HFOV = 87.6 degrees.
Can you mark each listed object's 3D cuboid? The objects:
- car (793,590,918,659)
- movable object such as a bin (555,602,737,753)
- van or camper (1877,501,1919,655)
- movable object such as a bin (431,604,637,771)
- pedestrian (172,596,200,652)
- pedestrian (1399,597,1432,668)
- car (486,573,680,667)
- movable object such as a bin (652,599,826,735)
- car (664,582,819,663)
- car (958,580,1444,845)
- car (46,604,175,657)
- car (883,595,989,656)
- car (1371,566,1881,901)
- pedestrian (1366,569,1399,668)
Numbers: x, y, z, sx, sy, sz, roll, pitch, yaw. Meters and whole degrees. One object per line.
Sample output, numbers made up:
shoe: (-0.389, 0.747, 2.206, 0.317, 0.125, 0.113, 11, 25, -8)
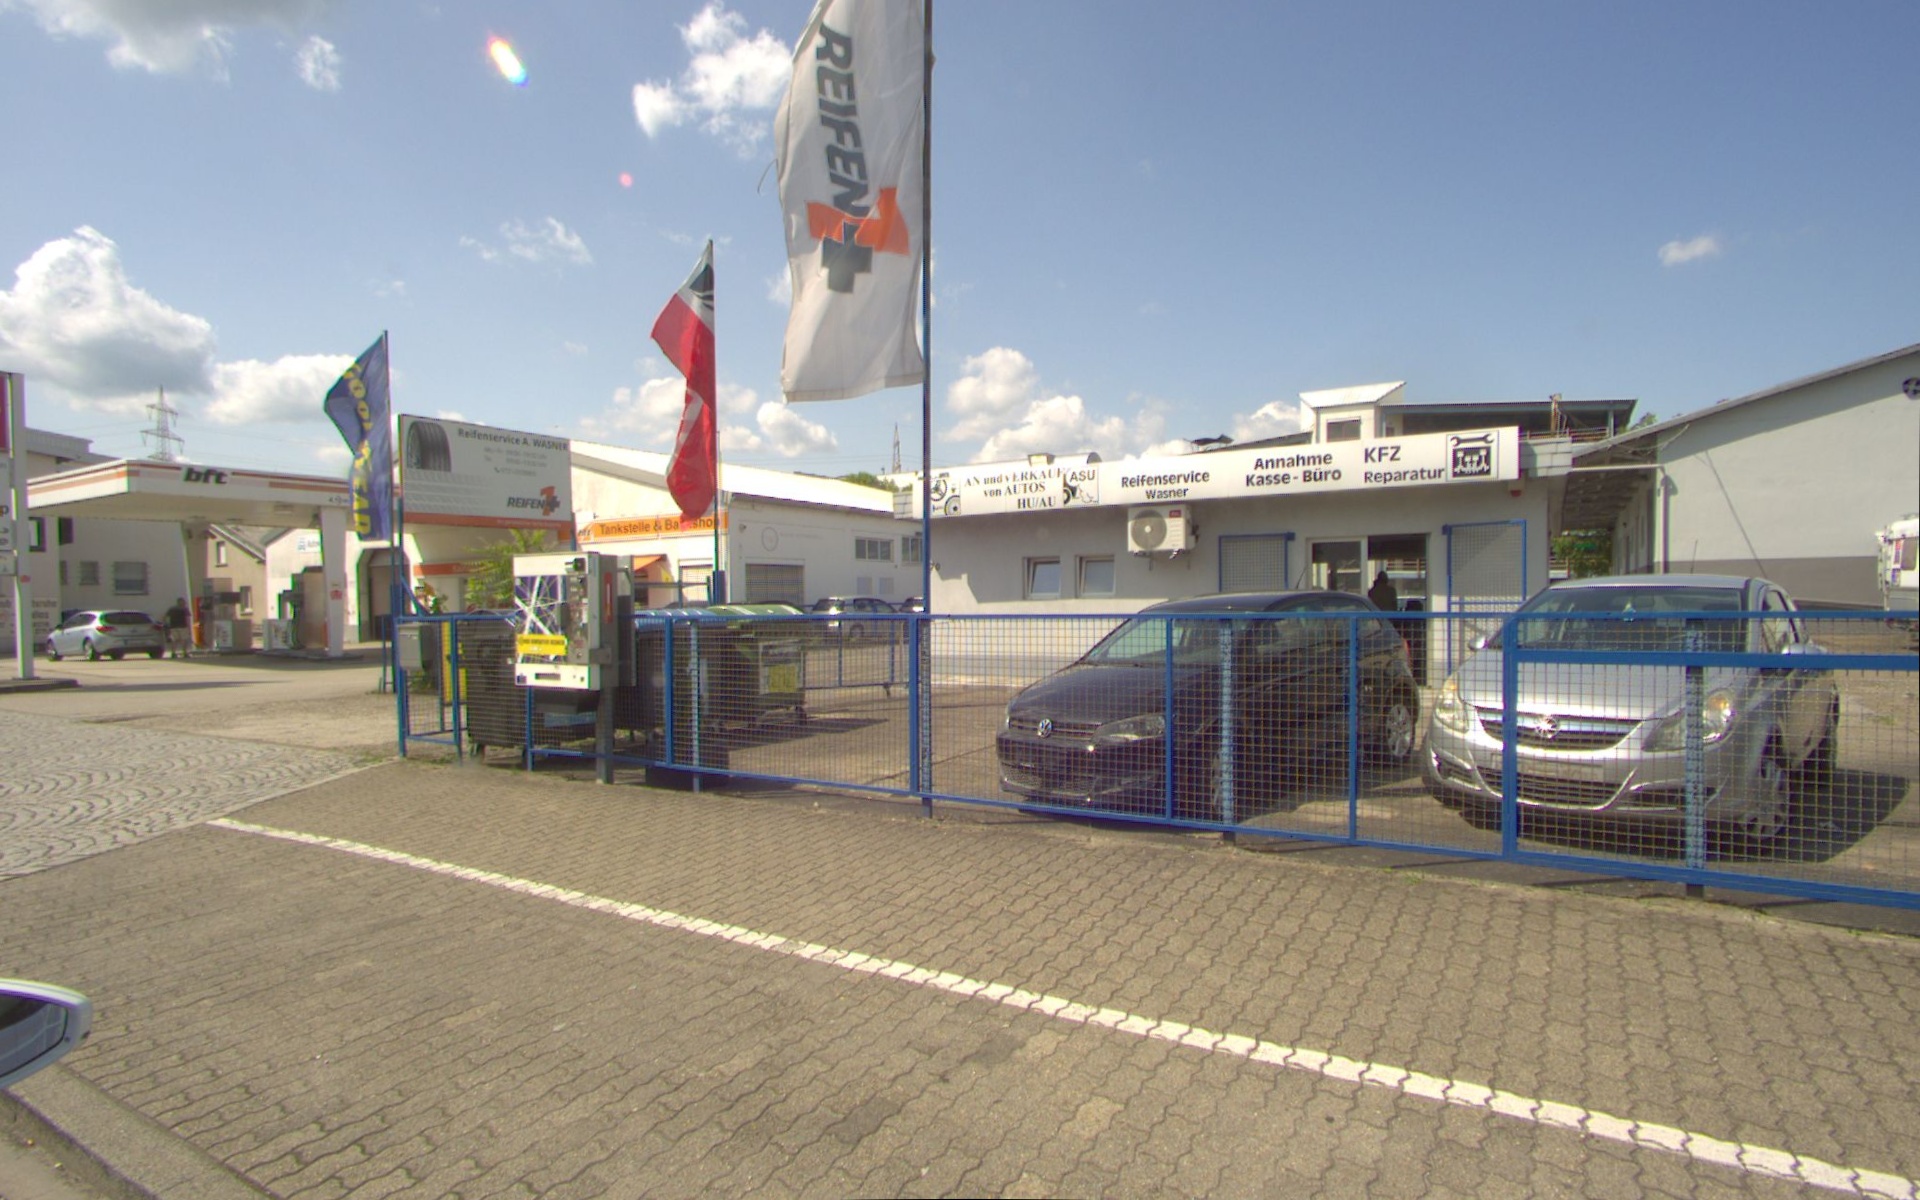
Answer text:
car: (-3.261, 0.726, 31.987, 1.971, 2.040, 3.979, 0, 0, 32)
movable object such as a bin: (-3.369, 0.774, 10.785, 1.434, 1.473, 1.224, 0, 1, 31)
van or camper: (21.350, -0.460, 19.320, 4.983, 3.002, 2.276, 0, 1, 31)
movable object such as a bin: (-4.129, 0.782, 9.745, 1.434, 1.473, 1.224, 0, 1, 31)
pedestrian: (-23.737, 0.727, 30.716, 0.628, 1.705, 0.618, -1, 1, -36)
pedestrian: (7.982, 0.561, 17.525, 0.480, 1.229, 0.499, 0, 1, 30)
car: (-8.910, 0.434, 23.982, 1.971, 2.040, 3.979, 0, 0, 32)
movable object such as a bin: (-2.603, 0.741, 11.900, 1.433, 1.473, 1.427, 0, 1, 31)
car: (-5.945, 0.569, 27.636, 1.971, 2.040, 3.979, 0, 0, 32)
car: (2.017, 0.625, 7.648, 3.962, 1.499, 1.705, -1, 1, -43)
car: (-25.831, 0.887, 30.435, 3.950, 1.499, 1.829, -1, 1, 31)
car: (-0.801, 0.861, 35.877, 1.971, 2.040, 3.979, 0, 0, 32)
car: (4.504, 0.586, 6.511, 4.104, 1.499, 1.787, -1, 0, -42)
pedestrian: (7.391, 0.321, 17.516, 0.480, 1.710, 0.499, 0, 1, 30)
